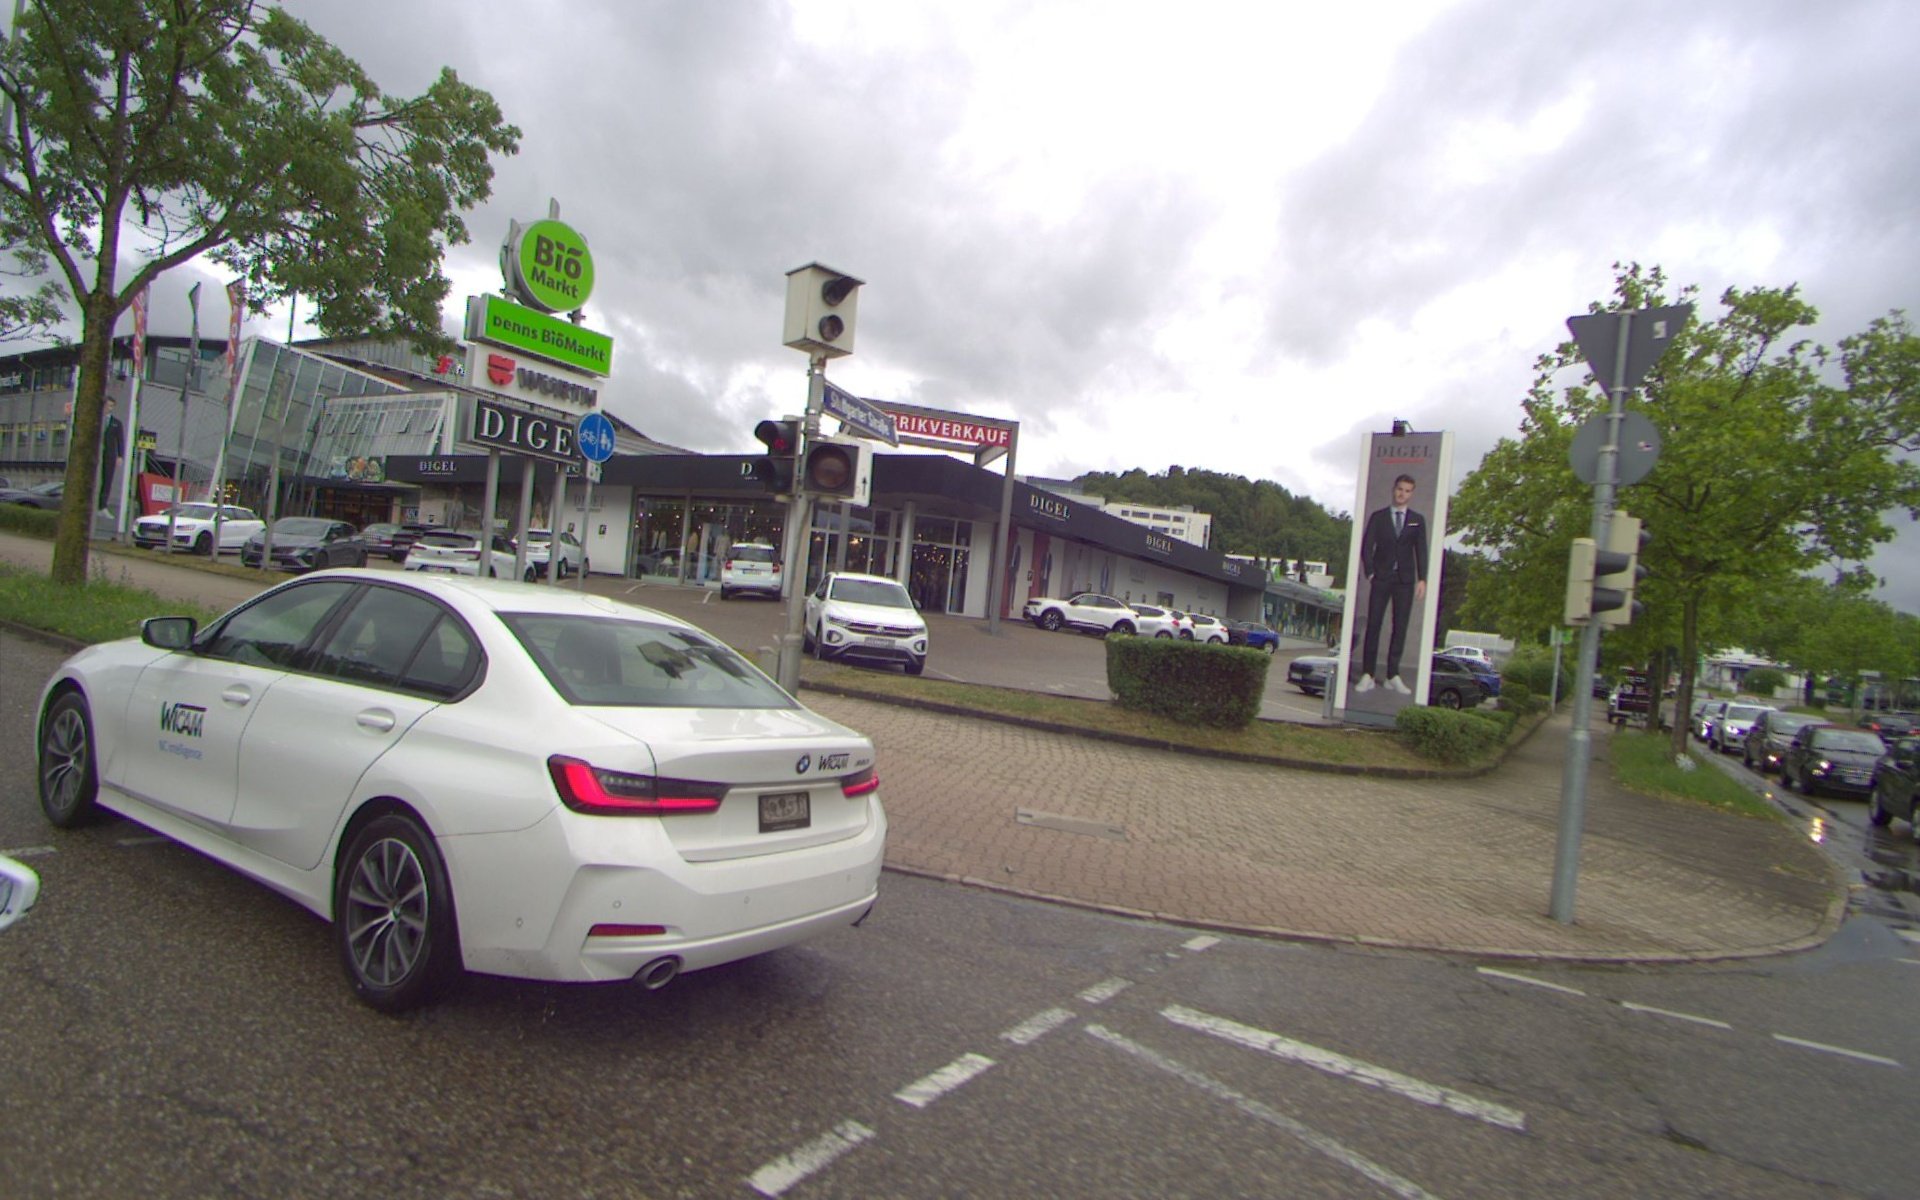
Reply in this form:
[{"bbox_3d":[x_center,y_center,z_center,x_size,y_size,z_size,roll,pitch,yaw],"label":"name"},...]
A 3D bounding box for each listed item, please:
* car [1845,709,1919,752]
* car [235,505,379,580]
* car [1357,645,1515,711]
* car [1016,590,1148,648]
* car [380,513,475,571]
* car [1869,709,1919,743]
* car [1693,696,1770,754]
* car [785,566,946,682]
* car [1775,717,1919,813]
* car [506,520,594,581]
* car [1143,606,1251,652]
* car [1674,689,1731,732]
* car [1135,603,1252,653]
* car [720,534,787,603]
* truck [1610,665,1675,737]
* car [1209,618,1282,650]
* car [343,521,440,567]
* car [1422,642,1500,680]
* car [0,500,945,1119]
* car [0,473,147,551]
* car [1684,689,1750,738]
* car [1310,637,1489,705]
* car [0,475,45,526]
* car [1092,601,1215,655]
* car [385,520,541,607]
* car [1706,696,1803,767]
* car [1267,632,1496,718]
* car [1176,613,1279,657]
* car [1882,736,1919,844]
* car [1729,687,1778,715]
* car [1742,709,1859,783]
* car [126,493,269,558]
[{"bbox_3d":[42.461,5.943,46.088,1.966,1.549,3.992,6,0,31],"label":"car"},{"bbox_3d":[-16.861,-1.425,26.181,1.615,1.555,3.595,6,0,-7],"label":"car"},{"bbox_3d":[17.177,2.818,36.365,4.848,1.812,1.998,7,-3,-12],"label":"car"},{"bbox_3d":[4.186,0.652,34.778,4.082,1.499,1.735,6,0,-8],"label":"car"},{"bbox_3d":[-20.376,-2.172,38.716,1.707,1.793,4.149,6,0,-7],"label":"car"},{"bbox_3d":[50.203,6.729,53.393,1.966,1.460,3.992,6,0,31],"label":"car"},{"bbox_3d":[29.044,4.649,37.991,1.788,1.763,3.982,5,0,32],"label":"car"},{"bbox_3d":[-1.792,0.334,17.509,1.902,1.596,4.274,6,0,-16],"label":"car"},{"bbox_3d":[19.498,3.545,22.185,1.788,1.507,3.982,5,0,32],"label":"car"},{"bbox_3d":[-14.465,-1.700,35.742,1.707,1.793,4.149,6,0,-7],"label":"car"},{"bbox_3d":[10.194,1.223,43.412,4.082,1.499,1.735,6,0,-8],"label":"car"},{"bbox_3d":[36.750,5.430,49.854,1.788,1.762,3.983,7,0,32],"label":"car"},{"bbox_3d":[9.323,1.122,40.305,4.082,1.499,1.735,6,0,-8],"label":"car"},{"bbox_3d":[-6.299,-0.923,30.914,1.709,1.793,4.146,6,0,-10],"label":"car"},{"bbox_3d":[27.139,3.956,40.106,1.788,2.516,3.982,5,0,32],"label":"truck"},{"bbox_3d":[14.850,1.760,52.390,3.189,1.286,1.538,6,0,-8],"label":"car"},{"bbox_3d":[-23.074,-2.222,41.000,1.799,1.487,4.150,6,0,-5],"label":"car"},{"bbox_3d":[31.186,3.811,62.628,3.936,1.816,1.994,7,0,34],"label":"car"},{"bbox_3d":[-2.538,0.550,4.747,4.543,1.562,1.805,6,-2,32],"label":"car"},{"bbox_3d":[-32.165,-3.141,36.155,1.770,2.131,4.114,7,0,33],"label":"car"},{"bbox_3d":[33.068,4.928,44.043,1.824,1.762,3.983,7,0,32],"label":"car"},{"bbox_3d":[12.202,1.973,28.082,4.082,1.395,1.983,7,-3,-8],"label":"car"},{"bbox_3d":[-41.112,-4.364,41.843,1.771,1.928,4.113,7,0,34],"label":"car"},{"bbox_3d":[7.228,1.032,37.778,4.079,1.499,1.736,6,0,-4],"label":"car"},{"bbox_3d":[-11.651,-0.856,23.897,1.948,1.685,4.019,6,2,-7],"label":"car"},{"bbox_3d":[26.076,4.245,33.175,1.893,1.862,4.330,5,0,32],"label":"car"},{"bbox_3d":[10.487,1.861,25.125,4.928,1.504,1.995,7,0,-13],"label":"car"},{"bbox_3d":[12.147,1.571,45.752,4.082,1.499,1.735,6,0,-8],"label":"car"},{"bbox_3d":[15.816,3.024,15.610,1.712,1.565,4.142,5,-3,37],"label":"car"},{"bbox_3d":[54.748,6.941,69.464,1.966,1.549,3.992,6,0,31],"label":"car"},{"bbox_3d":[22.626,3.880,27.223,1.788,1.466,3.982,5,0,32],"label":"car"},{"bbox_3d":[-23.018,-2.190,30.545,1.765,1.555,3.594,6,0,-7],"label":"car"}]
